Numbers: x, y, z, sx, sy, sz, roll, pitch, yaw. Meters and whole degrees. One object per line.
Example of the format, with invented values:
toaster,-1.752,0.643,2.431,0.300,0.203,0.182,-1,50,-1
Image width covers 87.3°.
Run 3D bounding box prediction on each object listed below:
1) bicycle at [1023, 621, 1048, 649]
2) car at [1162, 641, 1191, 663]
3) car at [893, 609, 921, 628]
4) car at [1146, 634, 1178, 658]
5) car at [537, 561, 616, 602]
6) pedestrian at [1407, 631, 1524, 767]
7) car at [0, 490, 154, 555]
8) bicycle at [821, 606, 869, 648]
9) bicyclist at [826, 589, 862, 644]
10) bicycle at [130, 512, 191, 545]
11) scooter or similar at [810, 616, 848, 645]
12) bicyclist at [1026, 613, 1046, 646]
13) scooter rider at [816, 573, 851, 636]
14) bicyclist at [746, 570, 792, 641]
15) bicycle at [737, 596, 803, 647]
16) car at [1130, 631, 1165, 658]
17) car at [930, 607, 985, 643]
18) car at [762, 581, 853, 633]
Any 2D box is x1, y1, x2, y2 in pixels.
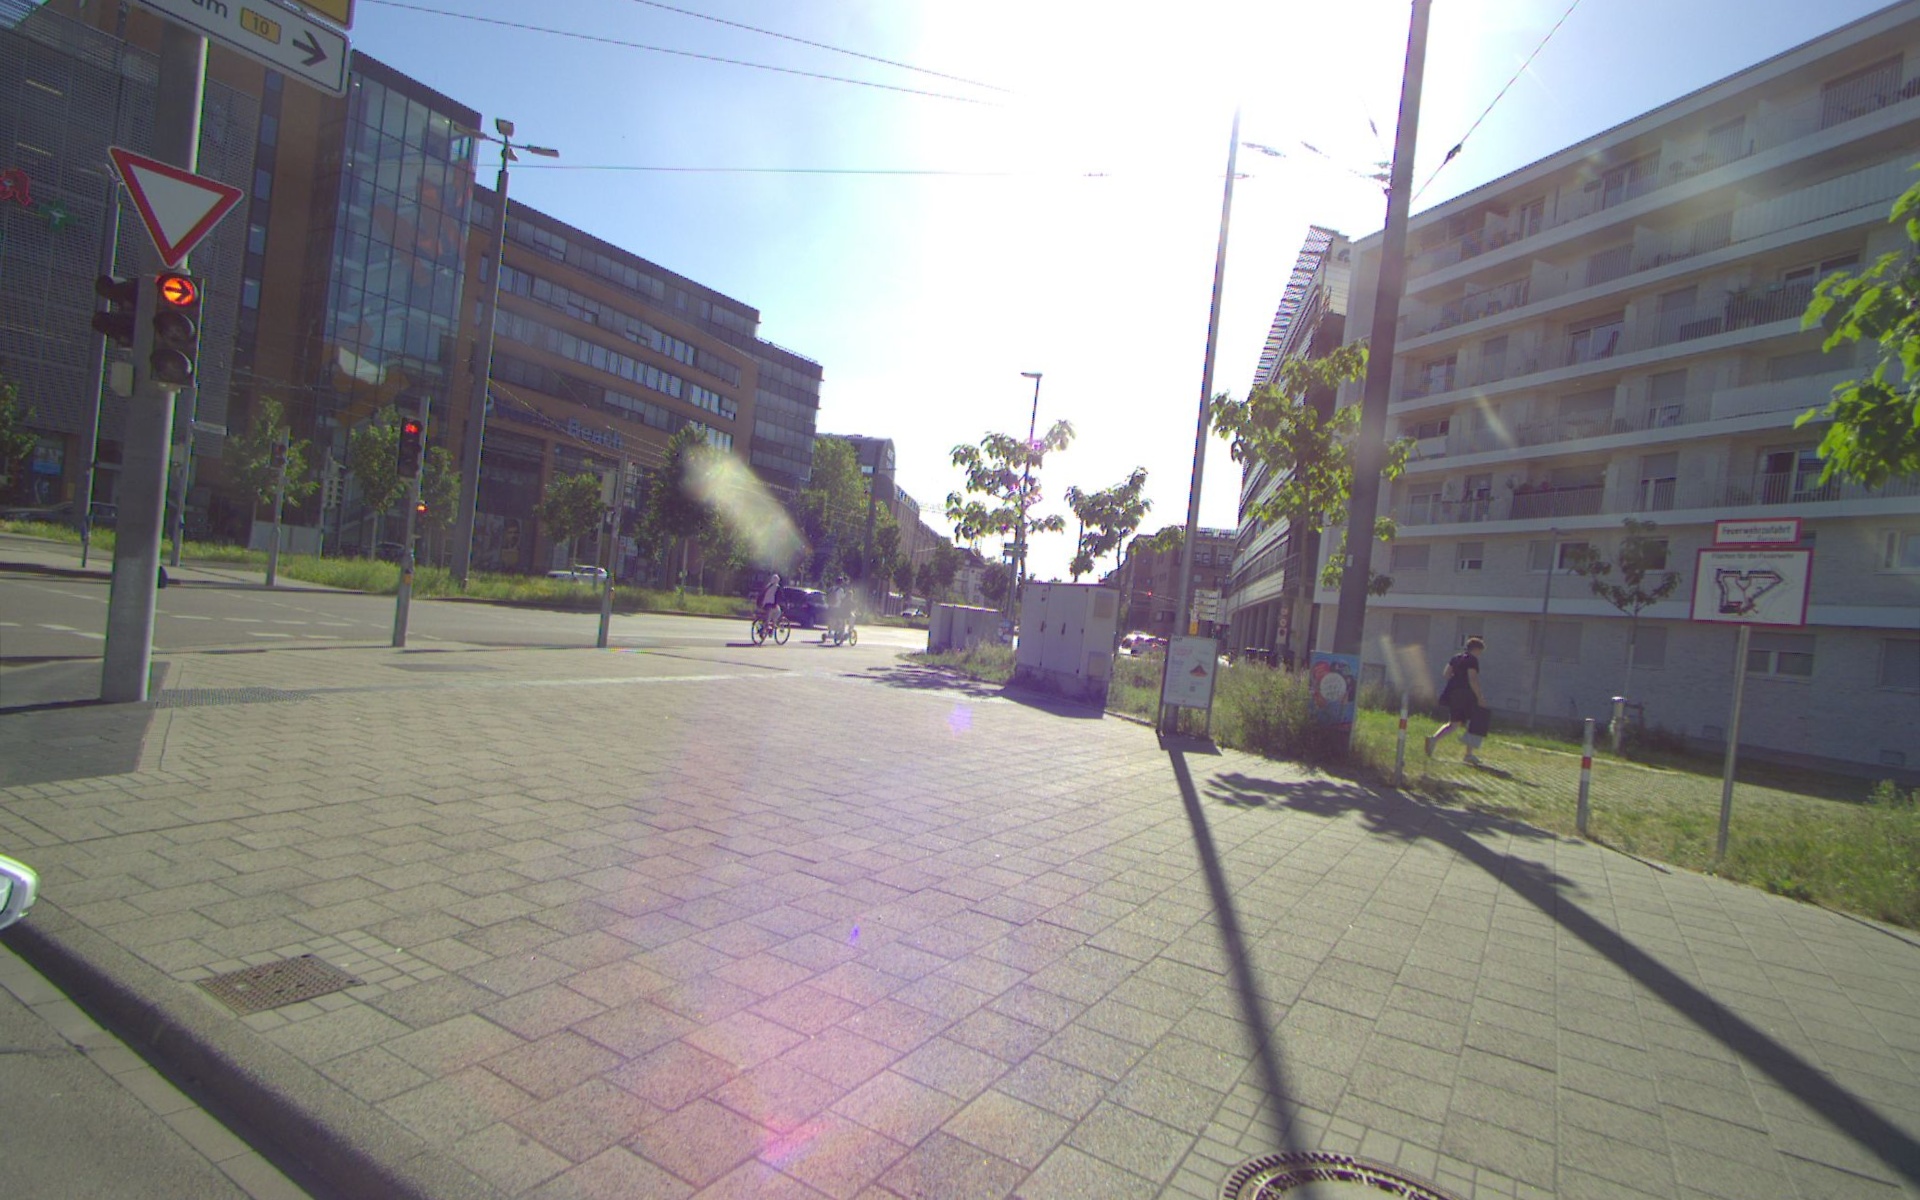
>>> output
bicycle,3.846,1.801,51.044,0.576,1.271,2.042,7,-2,22
car,17.912,4.322,83.268,1.677,1.515,4.281,7,-2,19
car,-6.146,2.199,117.126,1.806,1.600,4.313,7,-4,16
car,15.600,3.550,77.438,1.677,1.515,4.281,7,-2,19
car,-23.250,-1.090,61.171,1.808,1.661,4.308,6,-5,25
pedestrian,7.037,1.364,14.034,0.970,1.719,0.842,6,2,-16
car,-32.072,-2.768,36.331,1.810,1.484,4.161,6,-5,30
bicycle,-3.519,0.840,30.845,0.576,1.150,1.761,7,-2,22
bicyclist,-3.522,0.512,30.693,0.563,1.585,0.886,7,-1,22
bicycle,-40.522,-3.608,51.037,0.595,1.310,2.260,7,-2,30
scooter or similar,-4.152,0.979,31.994,0.603,0.795,1.213,7,-2,22
bicyclist,3.873,1.488,51.107,0.563,1.585,0.886,7,-1,22
scooter rider,-4.029,0.156,32.063,0.563,1.894,0.787,7,-1,22
bicyclist,-4.985,0.147,26.265,0.563,1.727,0.885,7,-1,25
bicycle,-4.970,0.592,26.407,0.571,1.150,1.907,7,-2,25
car,13.107,3.112,70.209,1.677,1.515,4.281,7,-2,19
car,-0.095,1.409,56.370,1.616,1.665,4.200,7,-1,20
car,-5.964,0.308,39.747,1.617,1.665,3.700,7,-1,26
